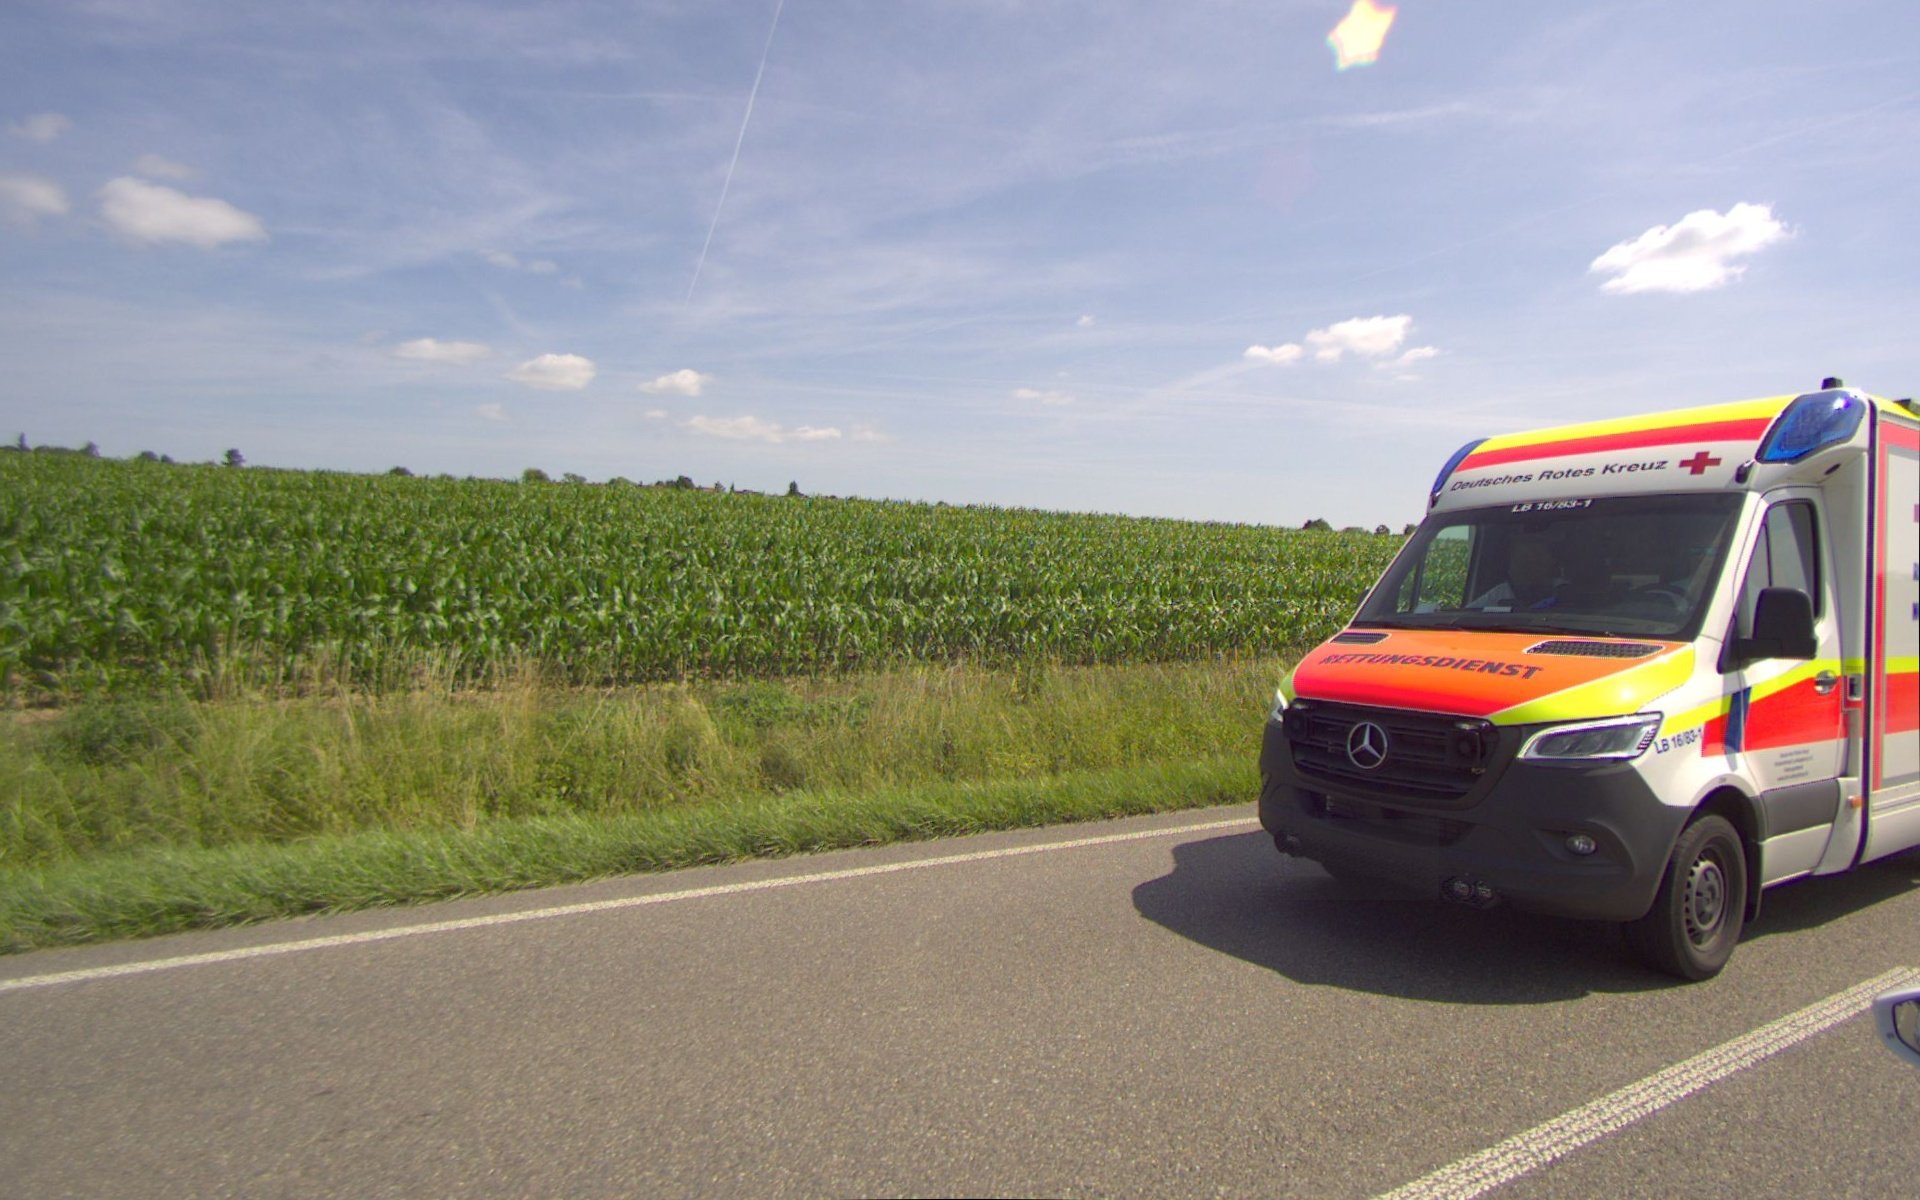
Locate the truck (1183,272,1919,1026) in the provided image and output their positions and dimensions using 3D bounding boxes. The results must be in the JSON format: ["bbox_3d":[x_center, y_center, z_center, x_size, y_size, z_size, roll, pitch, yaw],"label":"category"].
[{"bbox_3d":[4.507,0.256,6.208,6.344,2.707,2.196,2,-1,-31],"label":"truck"}]
